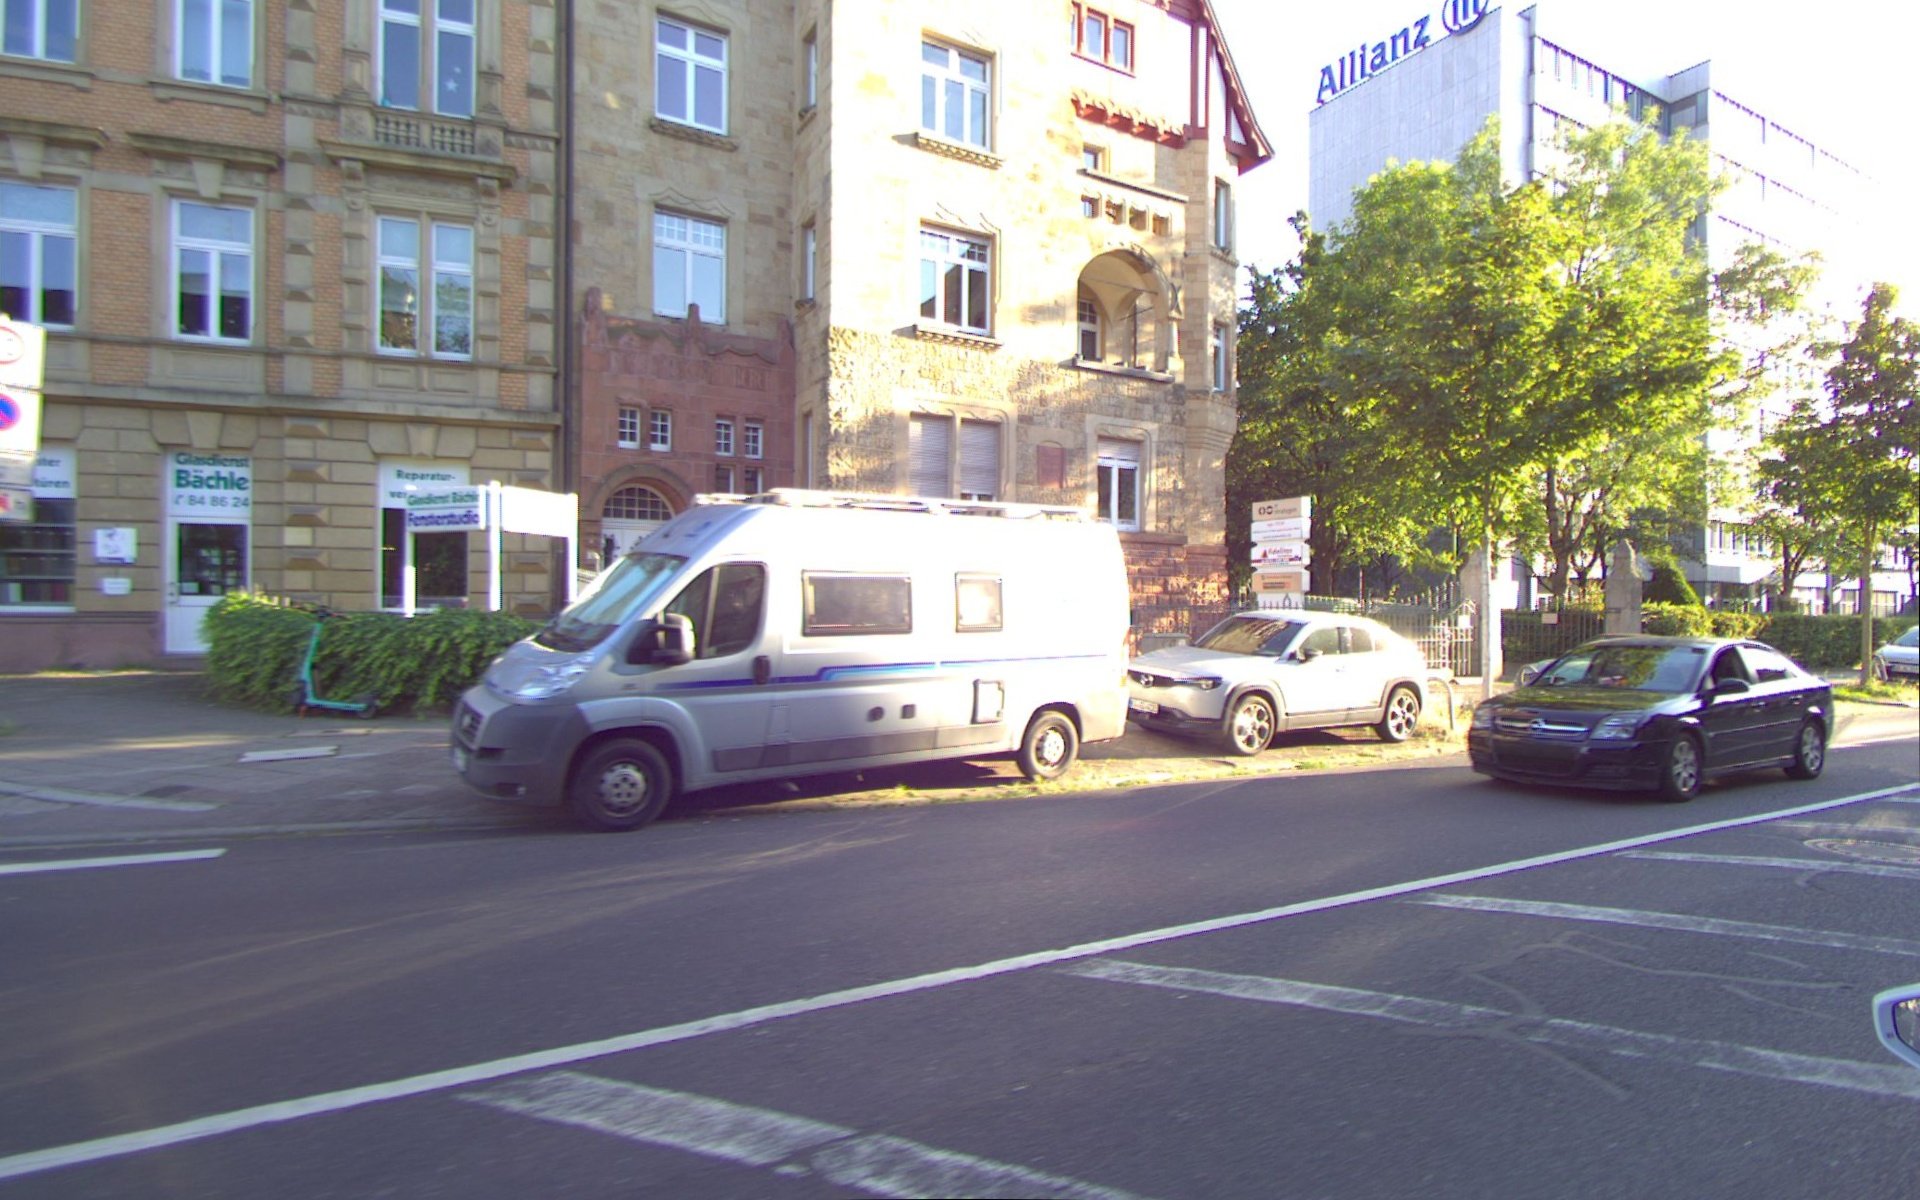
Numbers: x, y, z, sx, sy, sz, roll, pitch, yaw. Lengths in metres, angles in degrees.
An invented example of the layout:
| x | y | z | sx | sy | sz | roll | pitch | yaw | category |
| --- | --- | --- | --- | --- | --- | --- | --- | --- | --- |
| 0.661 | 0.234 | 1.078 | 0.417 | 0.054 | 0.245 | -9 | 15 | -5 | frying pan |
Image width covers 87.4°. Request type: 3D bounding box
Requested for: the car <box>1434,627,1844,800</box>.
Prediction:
| x | y | z | sx | sy | sz | roll | pitch | yaw | category |
| --- | --- | --- | --- | --- | --- | --- | --- | --- | --- |
| 6.838 | 0.984 | 10.017 | 4.254 | 1.404 | 1.751 | 1 | -2 | -31 | car |

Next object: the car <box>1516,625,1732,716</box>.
| x | y | z | sx | sy | sz | roll | pitch | yaw | category |
| --- | --- | --- | --- | --- | --- | --- | --- | --- | --- |
| 10.788 | 1.085 | 16.276 | 3.573 | 1.265 | 1.527 | 1 | 1 | -32 | car |

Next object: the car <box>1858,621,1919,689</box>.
| x | y | z | sx | sy | sz | roll | pitch | yaw | category |
| --- | --- | --- | --- | --- | --- | --- | --- | --- | --- |
| 23.081 | 1.299 | 23.726 | 3.955 | 1.471 | 1.688 | 1 | 1 | -32 | car |

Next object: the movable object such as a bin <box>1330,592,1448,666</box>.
| x | y | z | sx | sy | sz | roll | pitch | yaw | category |
| --- | --- | --- | --- | --- | --- | --- | --- | --- | --- |
| 9.545 | 0.626 | 22.401 | 1.313 | 1.397 | 1.930 | 2 | 4 | -31 | movable object such as a bin |

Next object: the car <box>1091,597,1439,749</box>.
| x | y | z | sx | sy | sz | roll | pitch | yaw | category |
| --- | --- | --- | --- | --- | --- | --- | --- | --- | --- |
| 3.855 | 0.814 | 12.487 | 4.254 | 1.555 | 1.737 | 1 | 1 | -32 | car |

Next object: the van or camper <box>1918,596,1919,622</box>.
| x | y | z | sx | sy | sz | roll | pitch | yaw | category |
| --- | --- | --- | --- | --- | --- | --- | --- | --- | --- |
| 97.036 | 1.013 | 96.710 | 2.422 | 2.556 | 6.528 | 1 | 1 | -31 | van or camper |

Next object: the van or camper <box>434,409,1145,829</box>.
| x | y | z | sx | sy | sz | roll | pitch | yaw | category |
| --- | --- | --- | --- | --- | --- | --- | --- | --- | --- |
| -1.220 | 0.154 | 9.004 | 5.977 | 2.704 | 1.980 | 1 | 1 | -35 | van or camper |

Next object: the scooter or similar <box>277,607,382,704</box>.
| x | y | z | sx | sy | sz | roll | pitch | yaw | category |
| --- | --- | --- | --- | --- | --- | --- | --- | --- | --- |
| -7.077 | 0.613 | 11.272 | 1.095 | 1.071 | 0.288 | 0 | -1 | 12 | scooter or similar |

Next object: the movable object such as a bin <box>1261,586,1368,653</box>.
| x | y | z | sx | sy | sz | roll | pitch | yaw | category |
| --- | --- | --- | --- | --- | --- | --- | --- | --- | --- |
| 8.490 | 0.457 | 24.125 | 1.313 | 1.397 | 1.930 | 2 | 4 | -31 | movable object such as a bin |
